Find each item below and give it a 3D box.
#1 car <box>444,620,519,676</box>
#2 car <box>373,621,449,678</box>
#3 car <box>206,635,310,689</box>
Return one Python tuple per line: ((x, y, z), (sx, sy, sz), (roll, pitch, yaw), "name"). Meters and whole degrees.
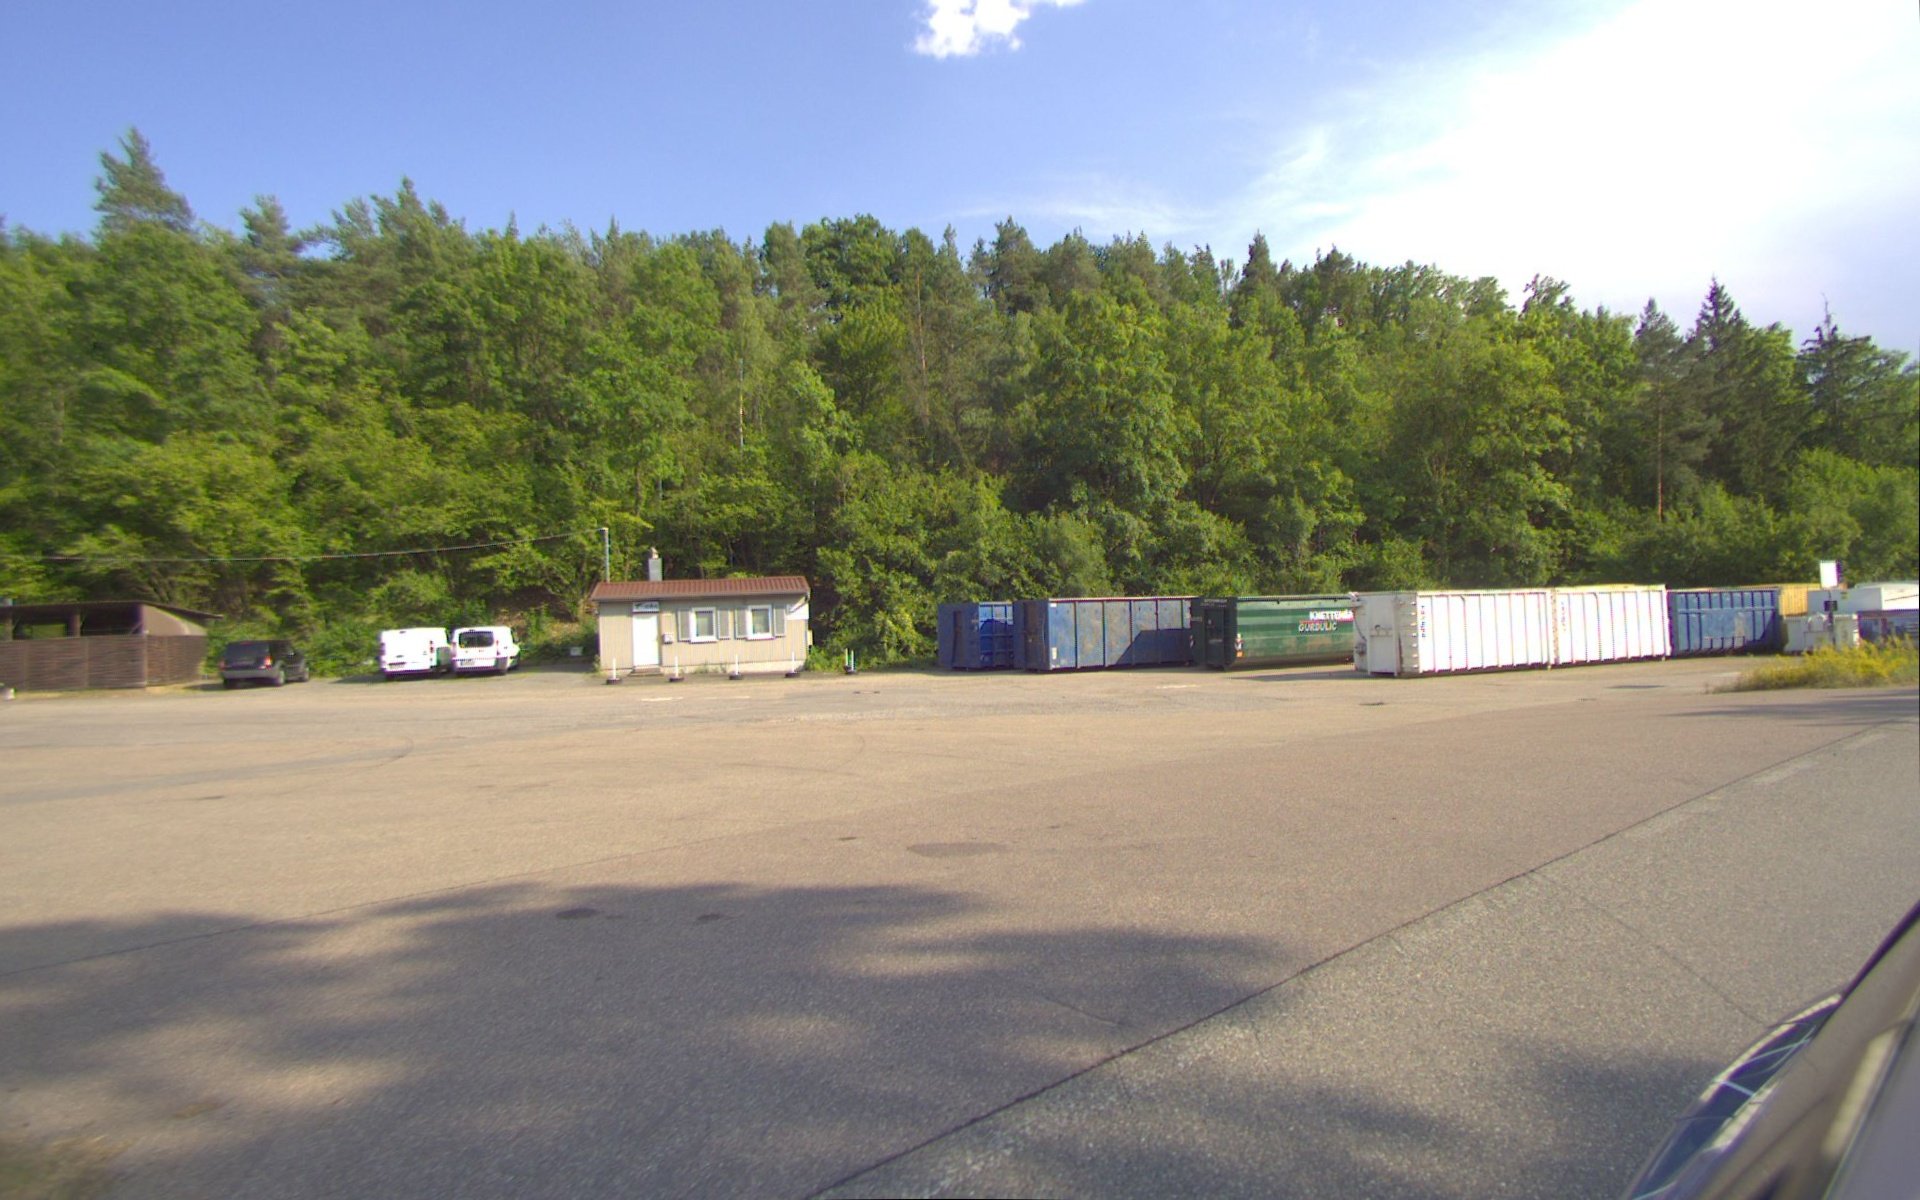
((-19.056, 1.887, 40.477), (1.958, 2.040, 4.567), (-1, -1, -16), "car")
((-21.489, 1.908, 39.768), (1.958, 2.040, 4.105), (-1, -1, -19), "car")
((-26.280, 2.280, 38.072), (1.954, 1.695, 4.566), (-1, 0, -18), "car")
